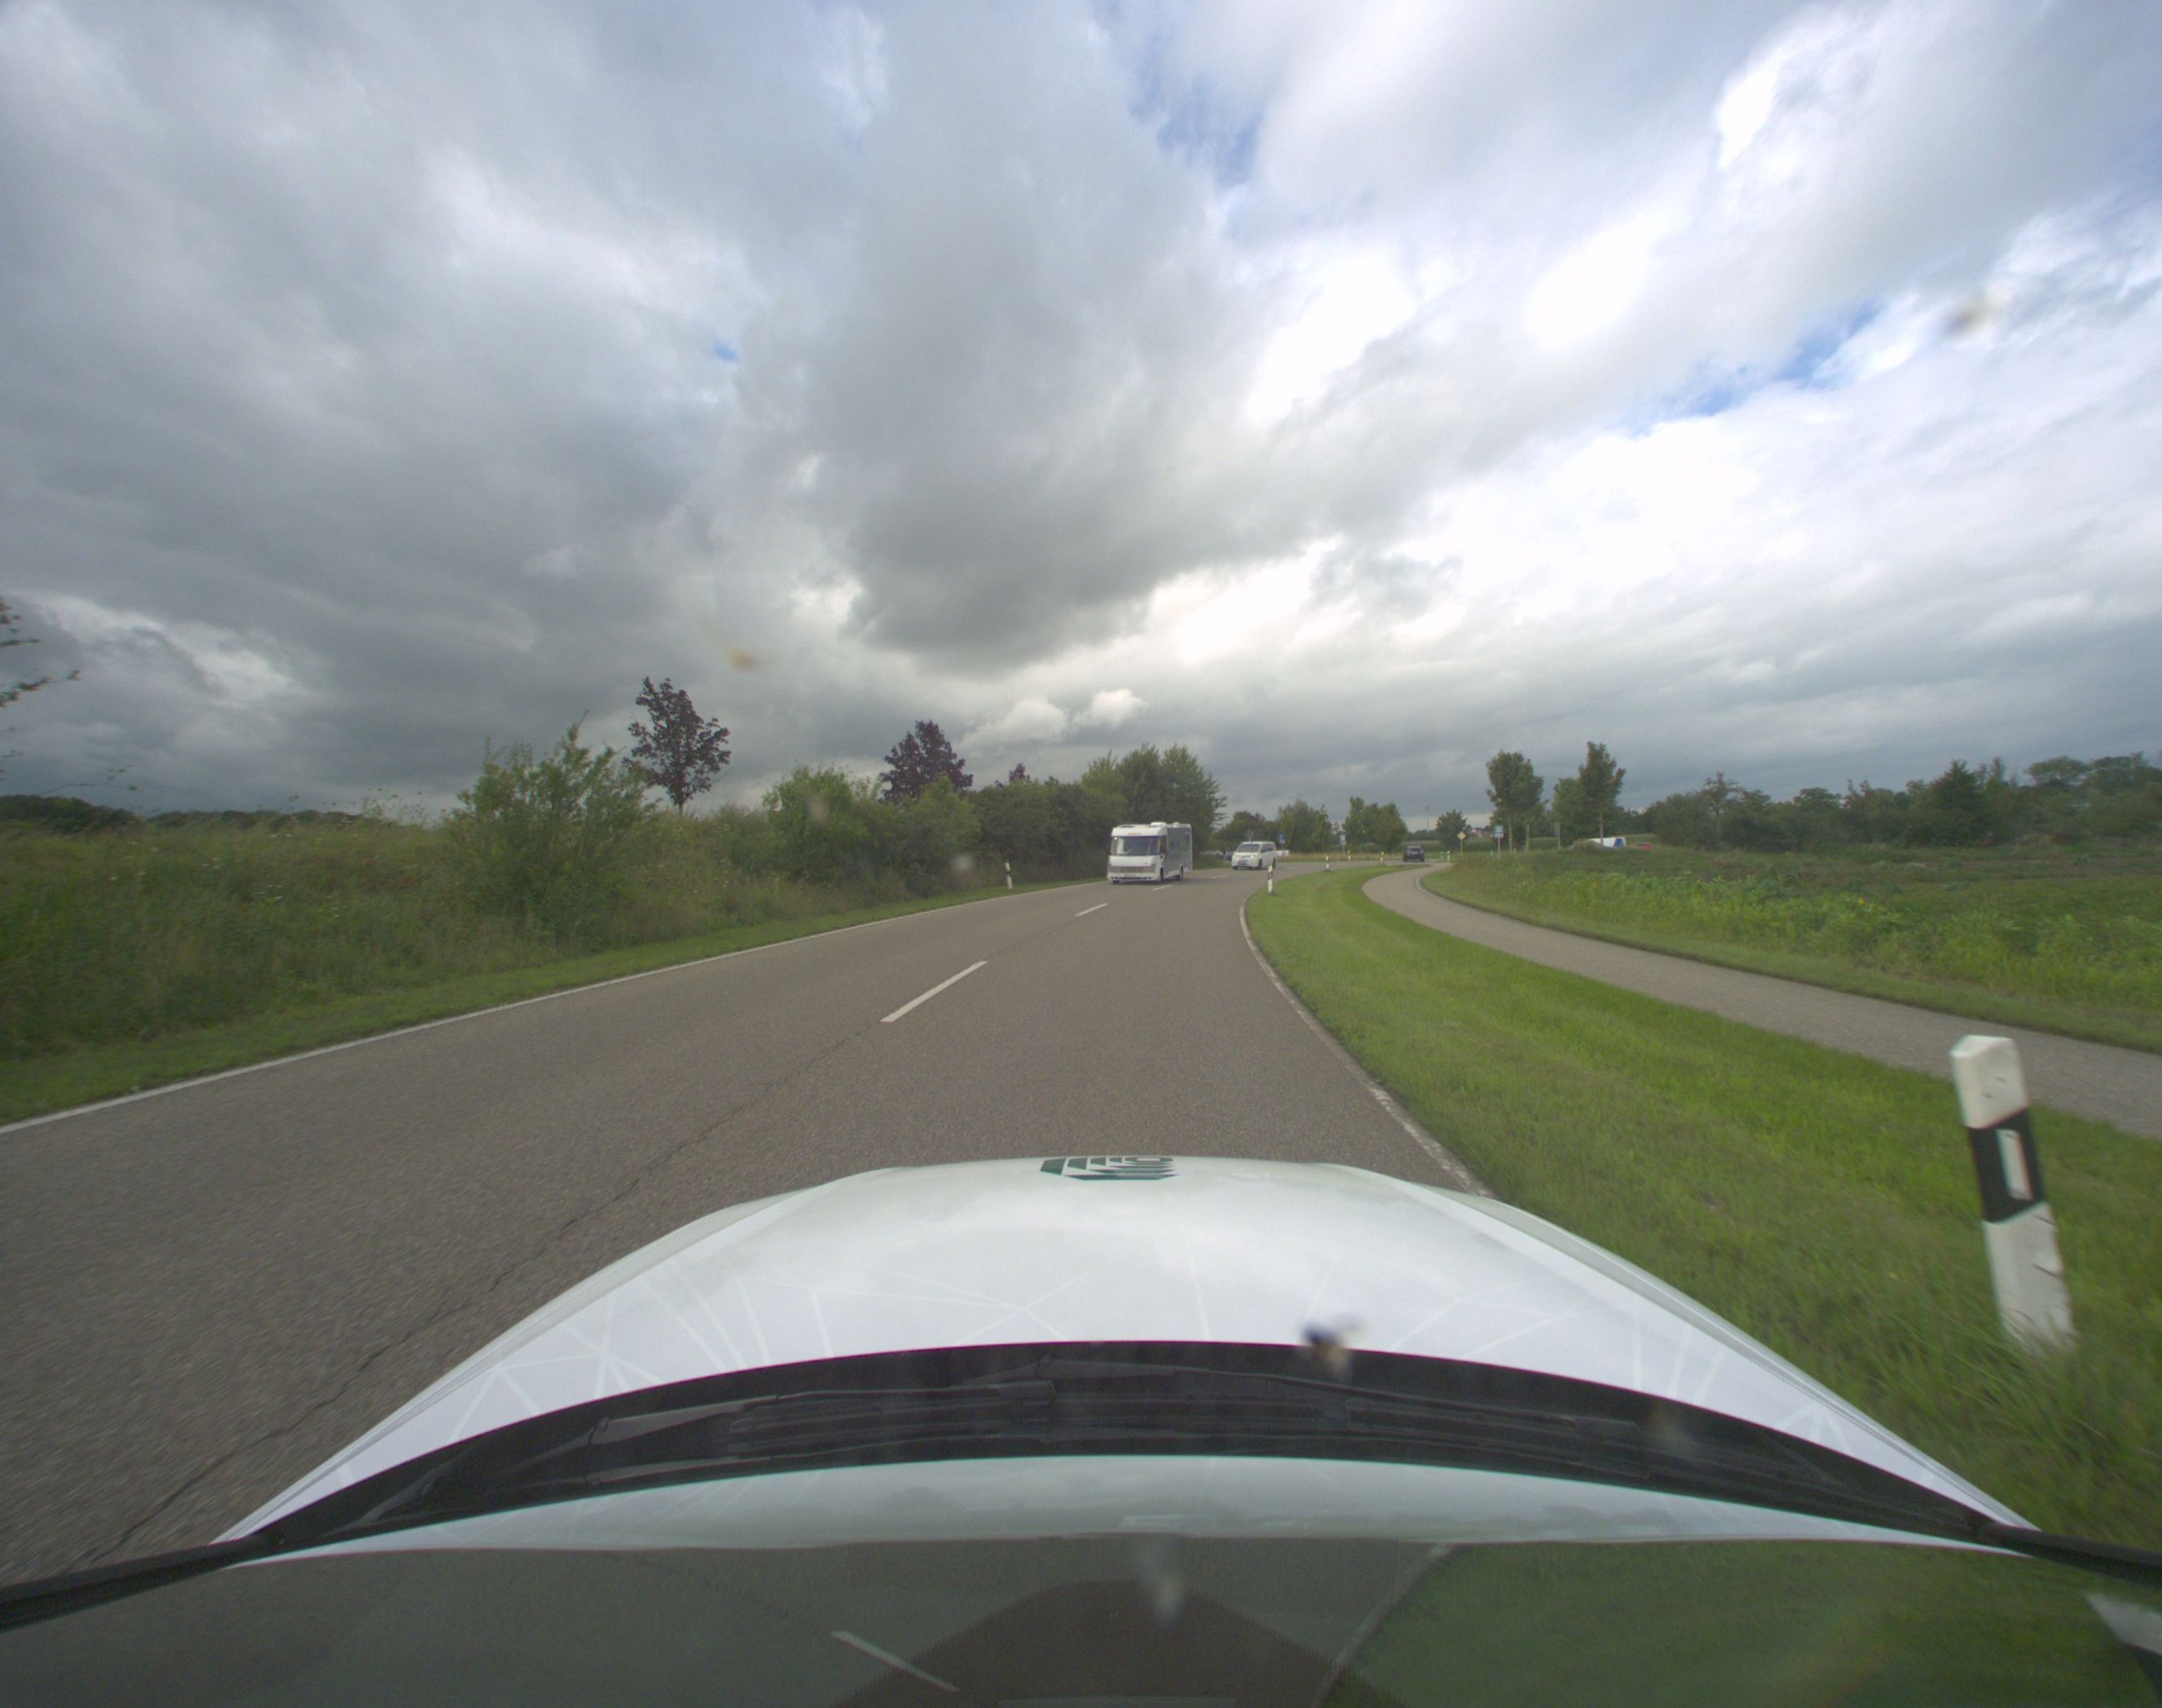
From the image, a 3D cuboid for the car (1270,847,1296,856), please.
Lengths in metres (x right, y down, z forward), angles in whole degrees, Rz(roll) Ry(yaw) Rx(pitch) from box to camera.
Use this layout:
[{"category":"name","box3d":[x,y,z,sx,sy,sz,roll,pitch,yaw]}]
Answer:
[{"category":"car","box3d":[33.164,-0.385,133.618,3.952,1.380,1.484,-1,0,22]}]

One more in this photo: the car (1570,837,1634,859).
[{"category":"car","box3d":[49.408,-0.552,77.234,4.898,1.974,1.967,-1,0,39]}]

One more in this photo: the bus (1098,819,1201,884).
[{"category":"bus","box3d":[3.449,-0.126,38.360,2.454,2.711,8.474,-1,0,21]}]

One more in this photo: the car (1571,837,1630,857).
[{"category":"car","box3d":[46.409,-0.607,72.829,4.230,1.566,1.849,-3,-1,39]}]

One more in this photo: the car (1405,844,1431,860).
[{"category":"car","box3d":[32.194,-0.199,77.761,1.824,1.417,4.025,-1,0,29]}]

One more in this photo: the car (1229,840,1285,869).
[{"category":"car","box3d":[12.244,-0.002,56.429,2.093,1.868,5.219,-1,0,32]}]
